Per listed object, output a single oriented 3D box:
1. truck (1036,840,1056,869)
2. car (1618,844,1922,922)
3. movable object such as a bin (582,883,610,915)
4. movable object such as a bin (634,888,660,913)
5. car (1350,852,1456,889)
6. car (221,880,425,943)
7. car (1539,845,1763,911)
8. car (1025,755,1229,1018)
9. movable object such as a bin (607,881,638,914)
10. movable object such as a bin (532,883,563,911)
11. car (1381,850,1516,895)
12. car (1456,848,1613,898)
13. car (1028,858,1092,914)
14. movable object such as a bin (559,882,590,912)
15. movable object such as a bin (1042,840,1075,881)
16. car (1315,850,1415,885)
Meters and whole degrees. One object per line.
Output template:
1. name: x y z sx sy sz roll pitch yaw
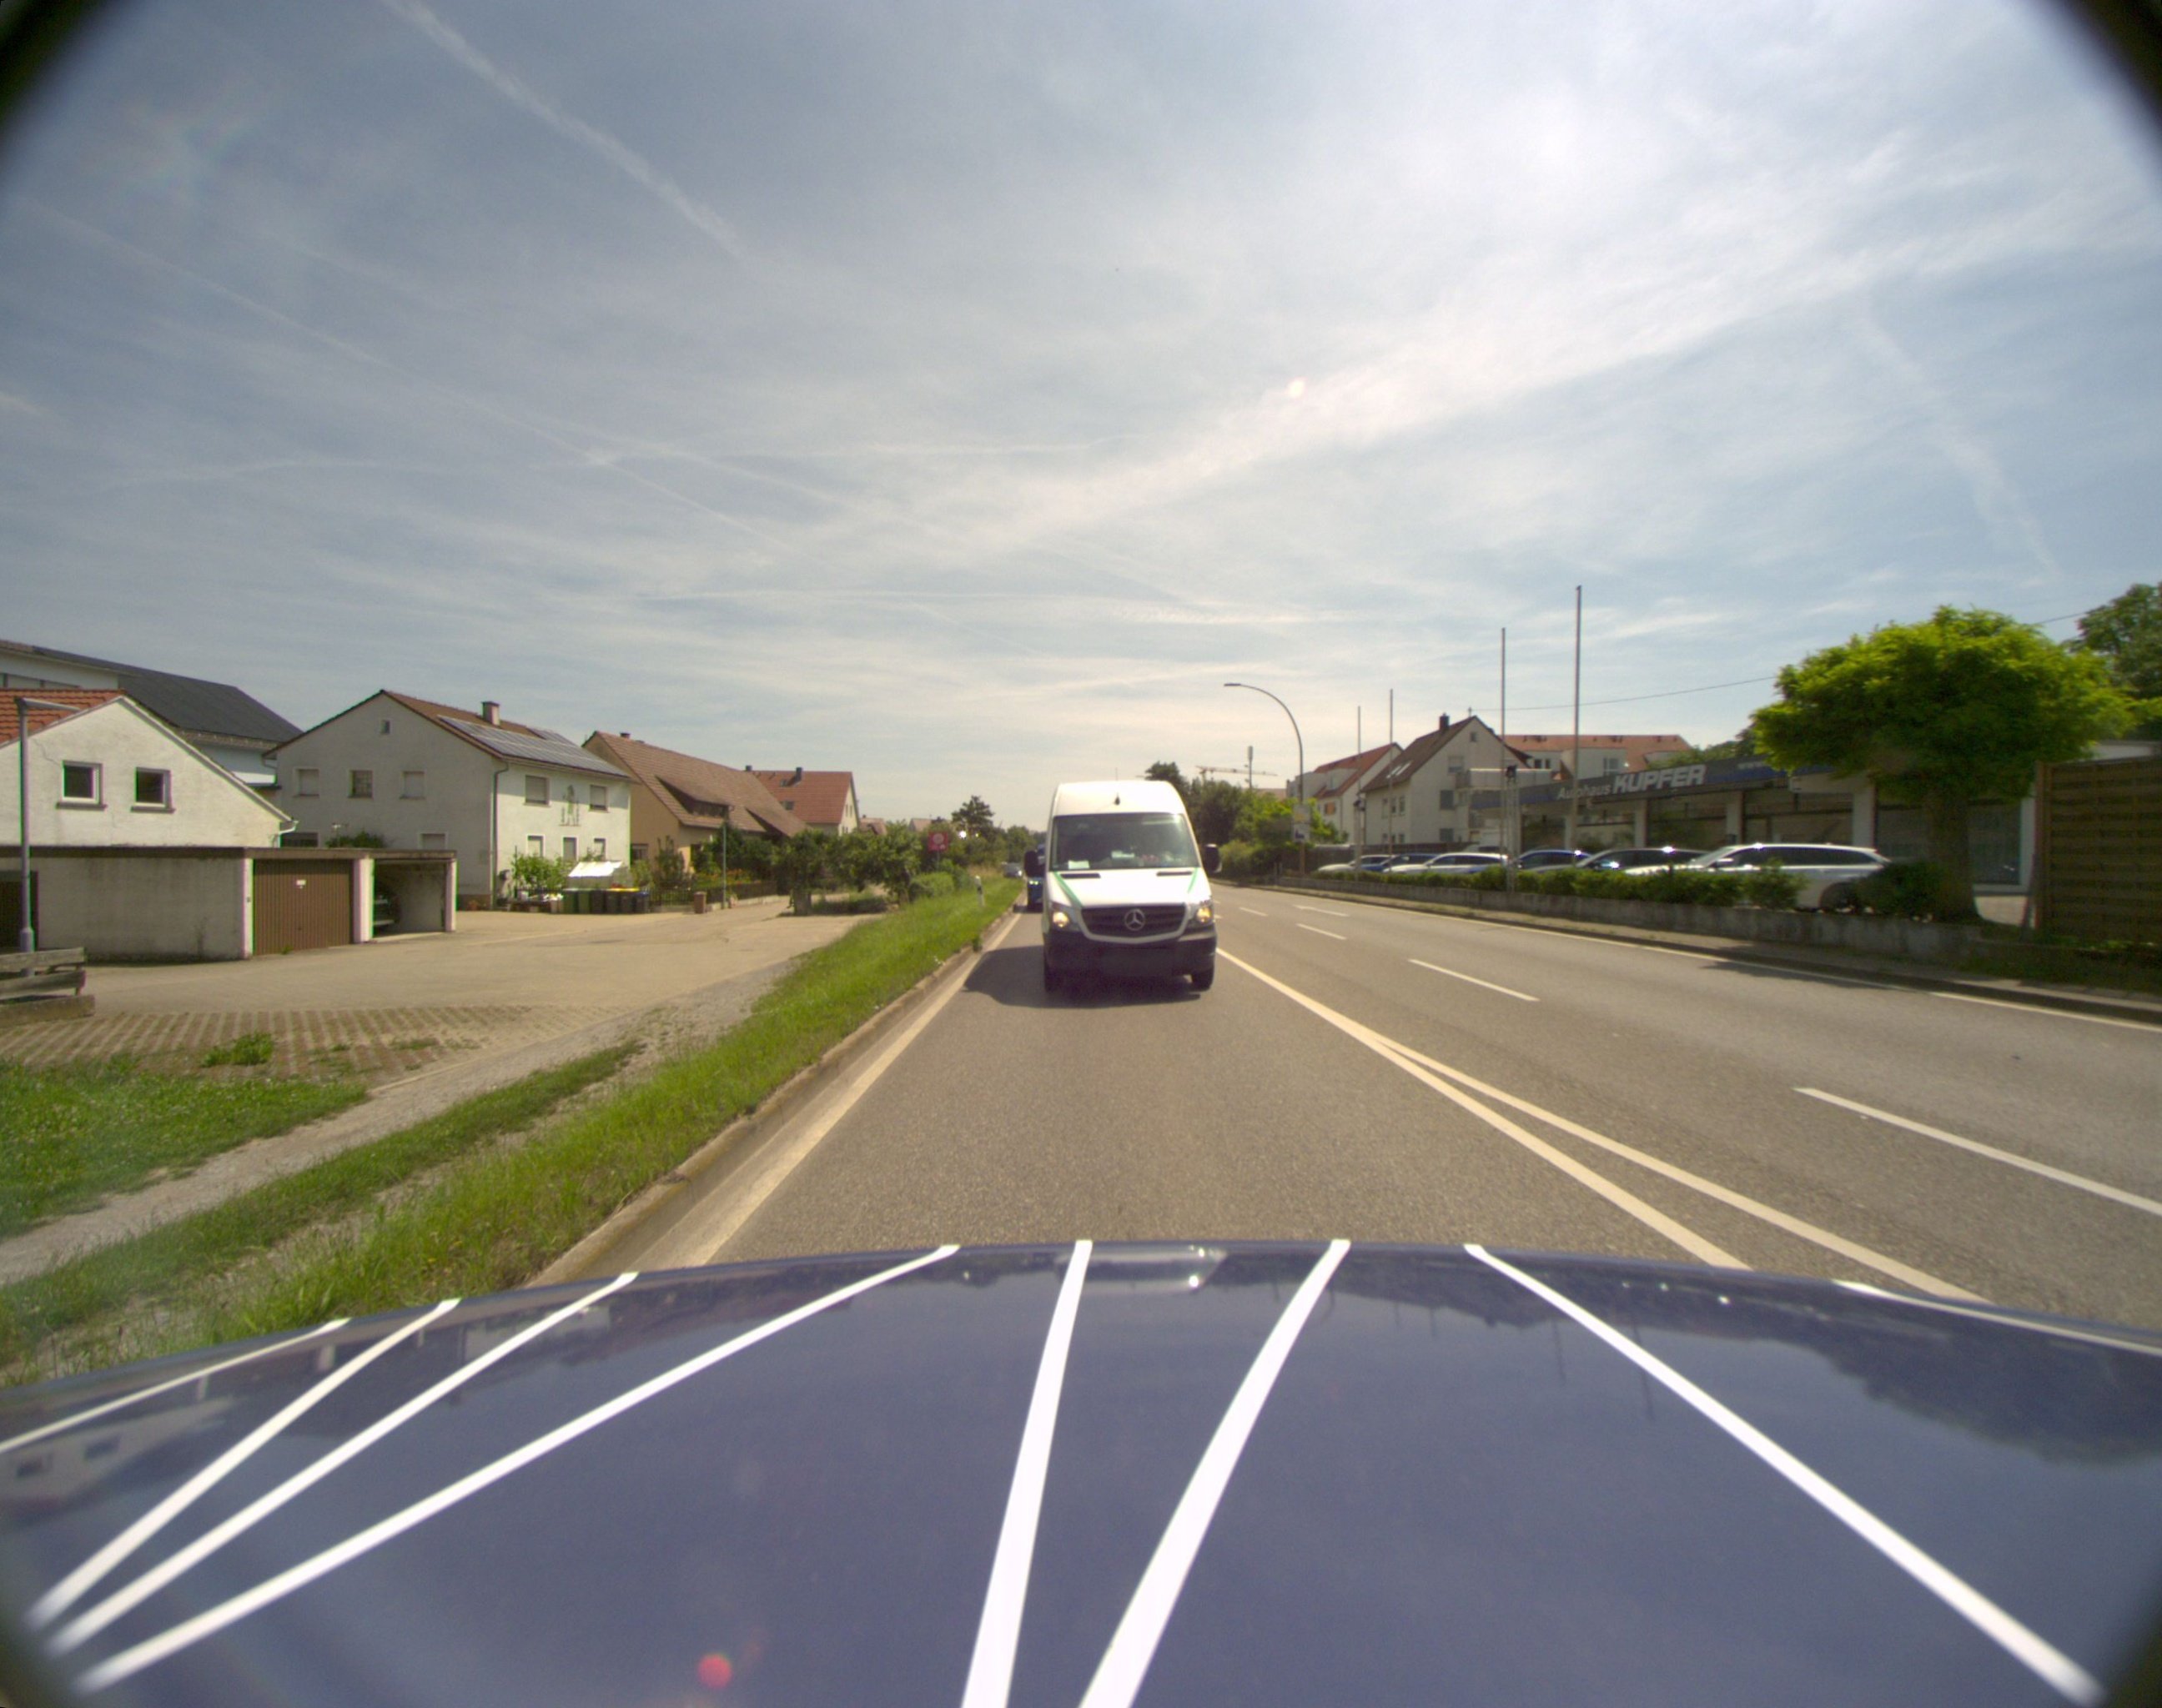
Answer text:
1. truck: -4.911 0.092 107.457 2.506 3.847 5.497 -2 0 -1
2. car: 14.041 0.586 15.868 4.329 1.451 1.858 -1 0 24
3. movable object such as a bin: -21.231 1.979 33.276 0.678 1.330 0.820 -2 0 -1
4. movable object such as a bin: -18.883 2.032 33.073 0.645 1.021 0.756 -2 0 -1
5. car: 13.638 0.702 32.213 3.990 1.455 2.003 -2 0 26
6. car: -21.573 1.620 21.753 3.997 1.594 1.826 -1 0 0
7. car: 14.388 0.627 19.498 4.251 1.536 1.853 -2 0 23
8. car: 0.425 0.342 10.461 1.978 2.583 5.633 -2 0 -1
9. movable object such as a bin: -19.891 1.887 32.979 0.765 1.362 0.946 -2 0 -1
10. movable object such as a bin: -23.140 1.875 32.987 0.740 1.149 0.830 -2 0 -1
11. car: 13.459 0.684 27.951 4.303 1.510 2.003 -2 0 27
12. car: 13.895 0.588 23.587 3.990 1.433 1.857 -2 0 25
13. car: -0.629 0.930 23.768 1.824 1.574 3.901 -1 0 -1
14. movable object such as a bin: -22.152 1.891 33.255 0.745 1.239 0.889 -2 0 -1
15. movable object such as a bin: -1.561 0.457 53.858 1.998 2.710 5.419 -1 0 1
16. car: 13.541 0.635 36.213 4.255 1.521 2.003 -2 0 26
